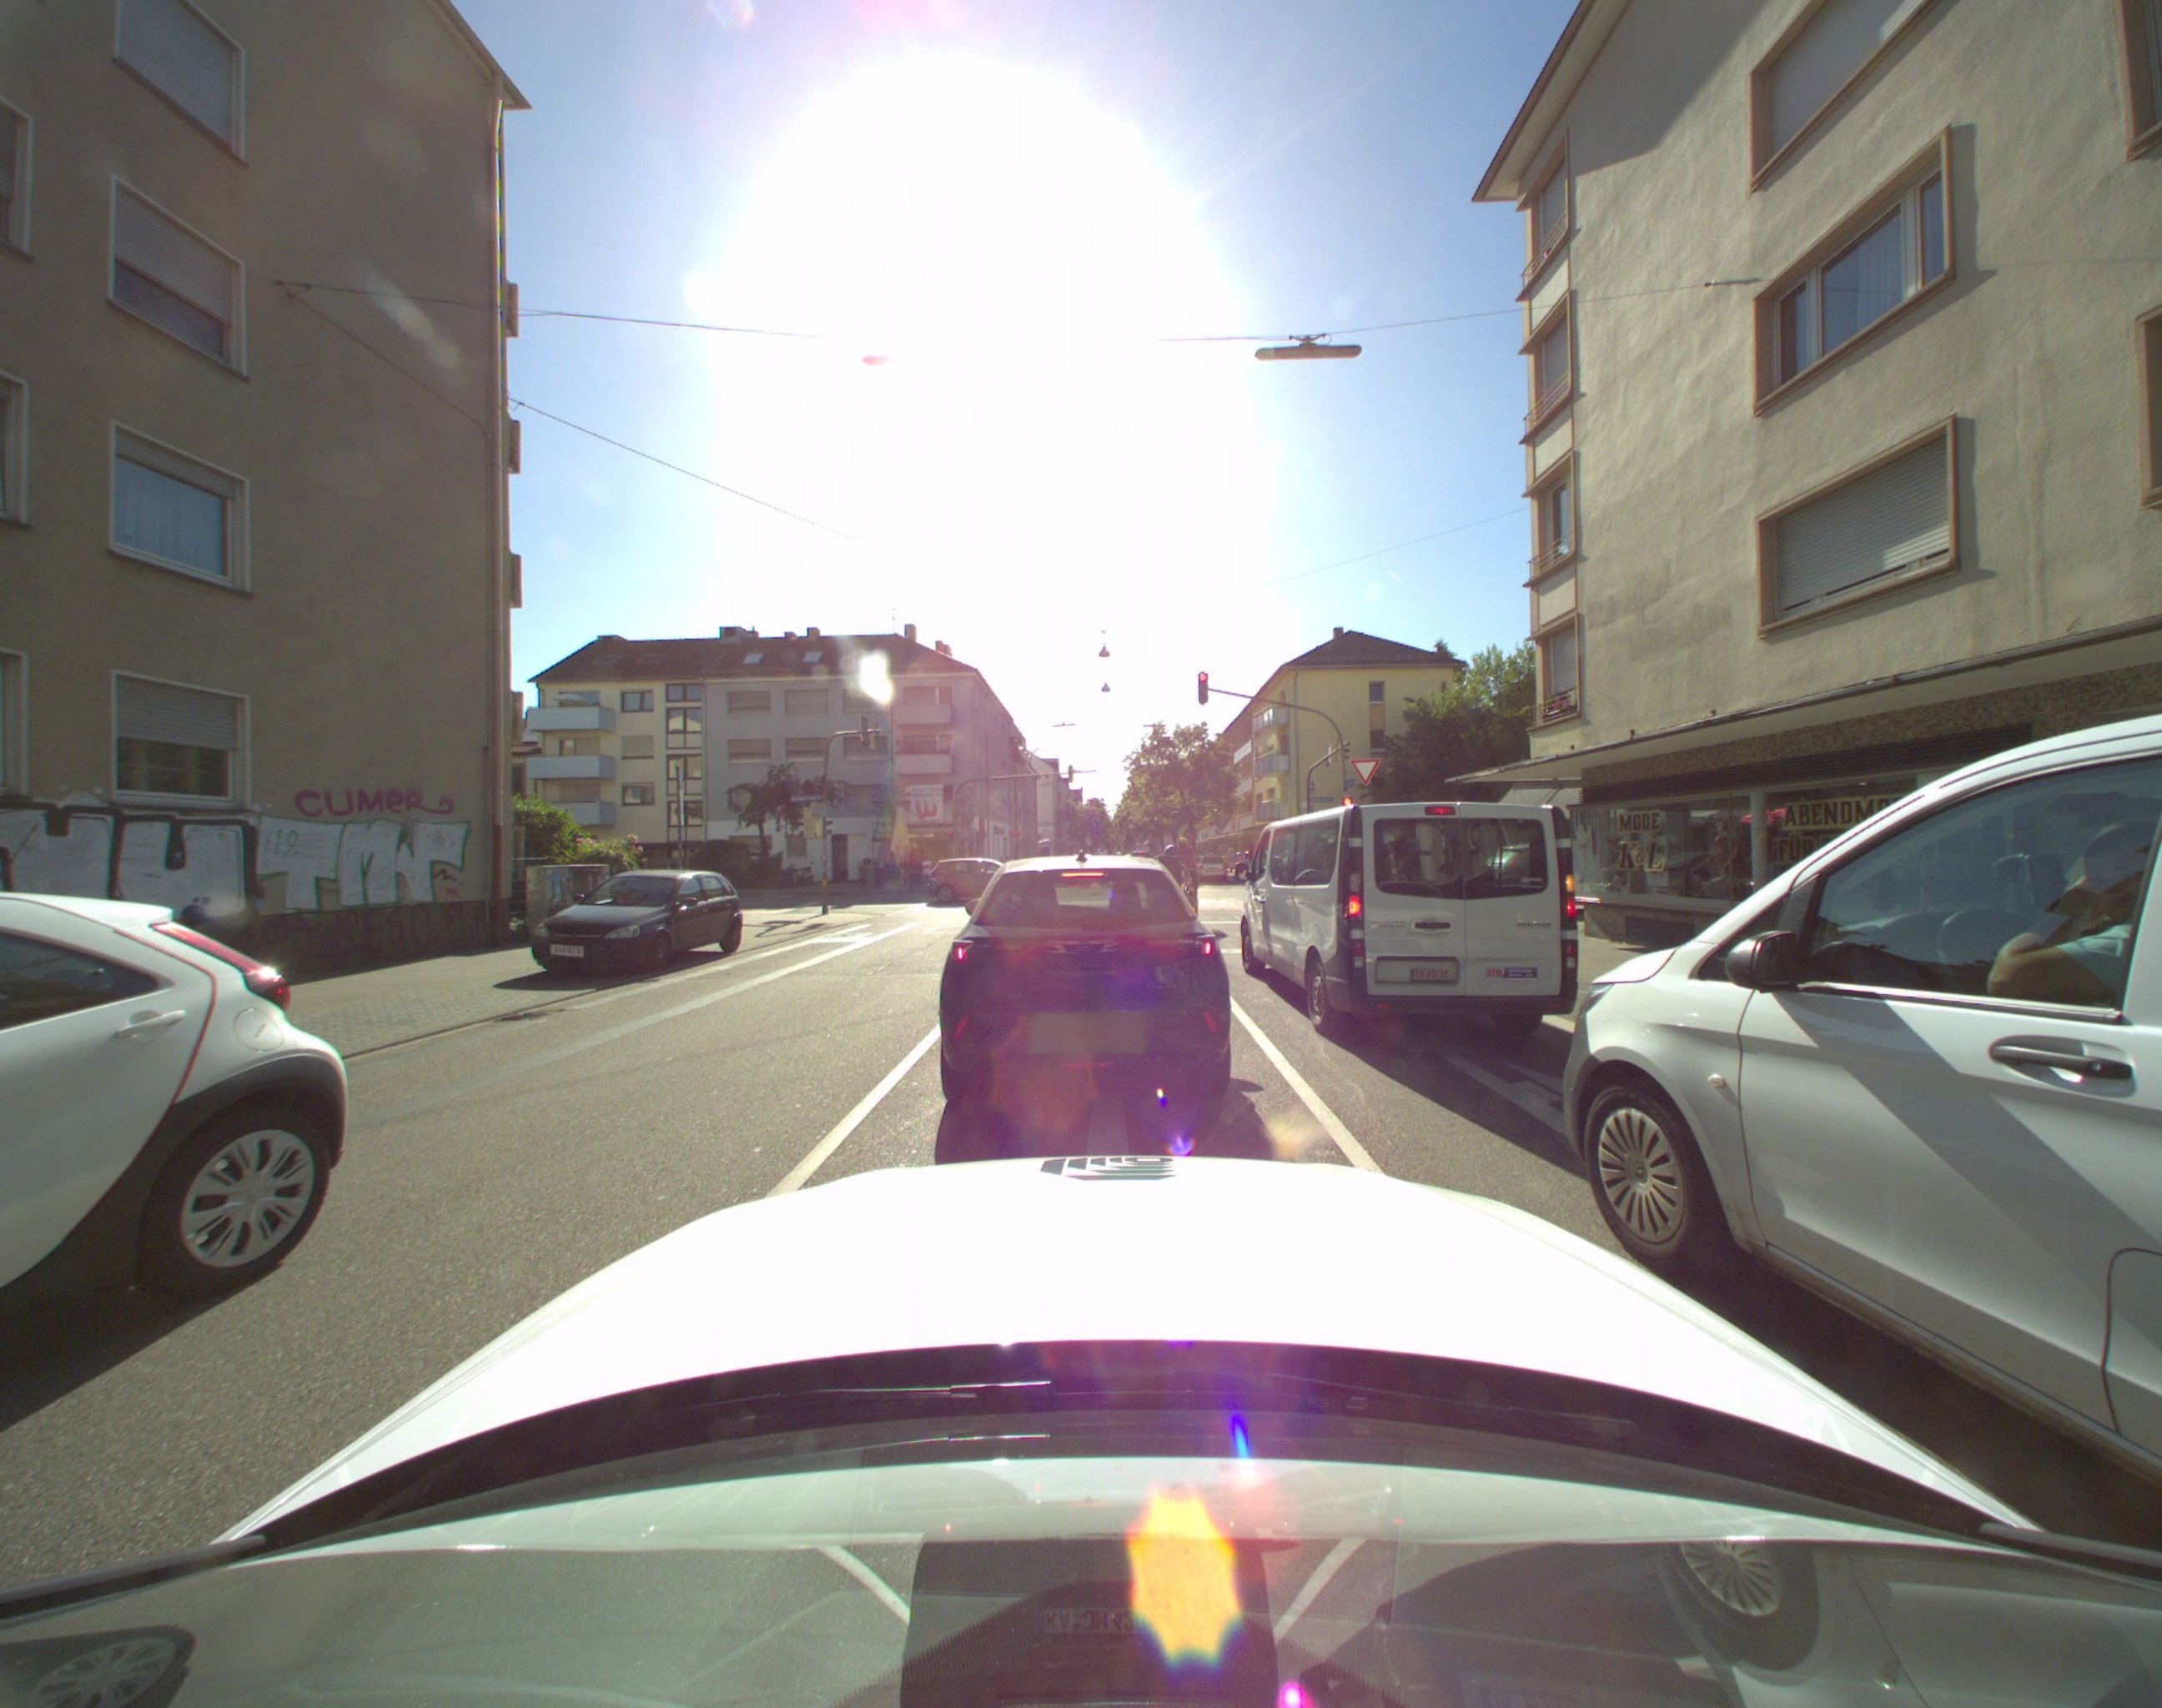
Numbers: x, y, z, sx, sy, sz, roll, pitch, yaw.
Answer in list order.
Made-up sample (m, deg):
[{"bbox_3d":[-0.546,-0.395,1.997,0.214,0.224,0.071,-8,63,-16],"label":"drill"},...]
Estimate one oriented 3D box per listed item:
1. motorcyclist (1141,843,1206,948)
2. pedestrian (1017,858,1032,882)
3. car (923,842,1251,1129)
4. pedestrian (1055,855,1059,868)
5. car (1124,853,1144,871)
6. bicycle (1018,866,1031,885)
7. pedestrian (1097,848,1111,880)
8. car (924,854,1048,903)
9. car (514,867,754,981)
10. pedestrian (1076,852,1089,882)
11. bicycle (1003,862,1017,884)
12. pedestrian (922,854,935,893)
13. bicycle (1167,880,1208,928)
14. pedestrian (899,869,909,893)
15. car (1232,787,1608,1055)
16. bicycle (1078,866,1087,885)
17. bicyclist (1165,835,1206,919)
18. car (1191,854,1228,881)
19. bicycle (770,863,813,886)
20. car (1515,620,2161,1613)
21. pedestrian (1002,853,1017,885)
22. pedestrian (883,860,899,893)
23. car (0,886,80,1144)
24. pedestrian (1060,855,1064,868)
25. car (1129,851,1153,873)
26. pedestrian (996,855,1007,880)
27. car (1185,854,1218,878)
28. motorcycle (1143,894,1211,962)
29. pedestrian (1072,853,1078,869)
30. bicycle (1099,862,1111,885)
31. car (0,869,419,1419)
[{"bbox_3d":[1.390,0.606,12.444,0.861,1.502,1.160,-1,0,1],"label":"motorcyclist"},{"bbox_3d":[-3.031,0.862,43.730,0.704,1.253,0.802,-1,0,0],"label":"pedestrian"},{"bbox_3d":[0.038,0.717,6.449,1.765,1.530,3.999,-1,0,0],"label":"car"},{"bbox_3d":[-3.211,1.042,109.361,0.400,1.675,0.418,-1,0,1],"label":"pedestrian"},{"bbox_3d":[5.277,0.804,81.057,1.894,1.728,4.003,-1,0,2],"label":"car"},{"bbox_3d":[-3.041,1.159,44.163,0.520,0.992,2.339,-1,0,0],"label":"bicycle"},{"bbox_3d":[1.248,0.547,43.742,0.704,1.701,0.802,-1,0,0],"label":"pedestrian"},{"bbox_3d":[-3.216,0.829,28.171,3.972,1.486,1.834,-2,0,1],"label":"car"},{"bbox_3d":[-6.781,0.969,12.844,1.610,1.425,3.711,2,0,1],"label":"car"},{"bbox_3d":[0.101,0.709,43.907,0.678,1.606,0.762,-1,0,0],"label":"pedestrian"},{"bbox_3d":[-3.852,1.036,44.215,0.520,1.147,2.283,-1,0,0],"label":"bicycle"},{"bbox_3d":[-7.197,0.910,38.395,0.560,1.775,0.582,-1,0,-7],"label":"pedestrian"},{"bbox_3d":[2.292,1.058,17.716,0.575,0.904,2.301,-1,0,0],"label":"bicycle"},{"bbox_3d":[-8.224,1.262,37.760,0.354,1.092,0.461,-1,0,-1],"label":"pedestrian"},{"bbox_3d":[2.979,0.498,8.508,1.986,1.979,4.896,0,0,1],"label":"car"},{"bbox_3d":[0.079,1.139,43.930,0.442,0.992,2.068,-1,0,0],"label":"bicycle"},{"bbox_3d":[2.244,0.479,17.603,0.687,1.712,1.414,-1,0,0],"label":"bicyclist"},{"bbox_3d":[7.397,0.761,47.210,1.628,1.433,3.958,-1,0,2],"label":"car"},{"bbox_3d":[-15.385,1.074,43.295,2.103,1.172,0.735,-1,0,-22],"label":"bicycle"},{"bbox_3d":[2.942,0.483,1.257,1.831,1.869,4.994,-1,0,-1],"label":"car"},{"bbox_3d":[-3.848,0.818,43.961,0.704,1.678,0.802,-1,0,0],"label":"pedestrian"},{"bbox_3d":[-8.834,1.033,37.881,0.582,1.521,0.649,-1,0,-1],"label":"pedestrian"},{"bbox_3d":[-7.129,0.920,2.634,1.711,1.465,4.817,1,0,1],"label":"car"},{"bbox_3d":[-2.521,0.993,108.876,0.400,1.675,0.418,-1,0,1],"label":"pedestrian"},{"bbox_3d":[4.850,0.633,66.468,1.894,1.728,4.077,-1,0,3],"label":"car"},{"bbox_3d":[-4.944,0.855,50.536,0.615,1.521,0.724,-1,0,-1],"label":"pedestrian"},{"bbox_3d":[7.639,0.765,51.925,1.628,1.433,4.002,-1,0,2],"label":"car"},{"bbox_3d":[1.407,1.070,12.265,0.822,0.845,1.885,-1,0,1],"label":"motorcycle"},{"bbox_3d":[-0.688,0.766,88.762,0.567,1.690,0.589,-1,0,8],"label":"pedestrian"},{"bbox_3d":[1.287,1.039,43.903,0.520,1.147,2.170,-1,0,0],"label":"bicycle"},{"bbox_3d":[-3.959,0.851,1.878,1.760,1.536,3.785,-1,0,-1],"label":"car"}]
